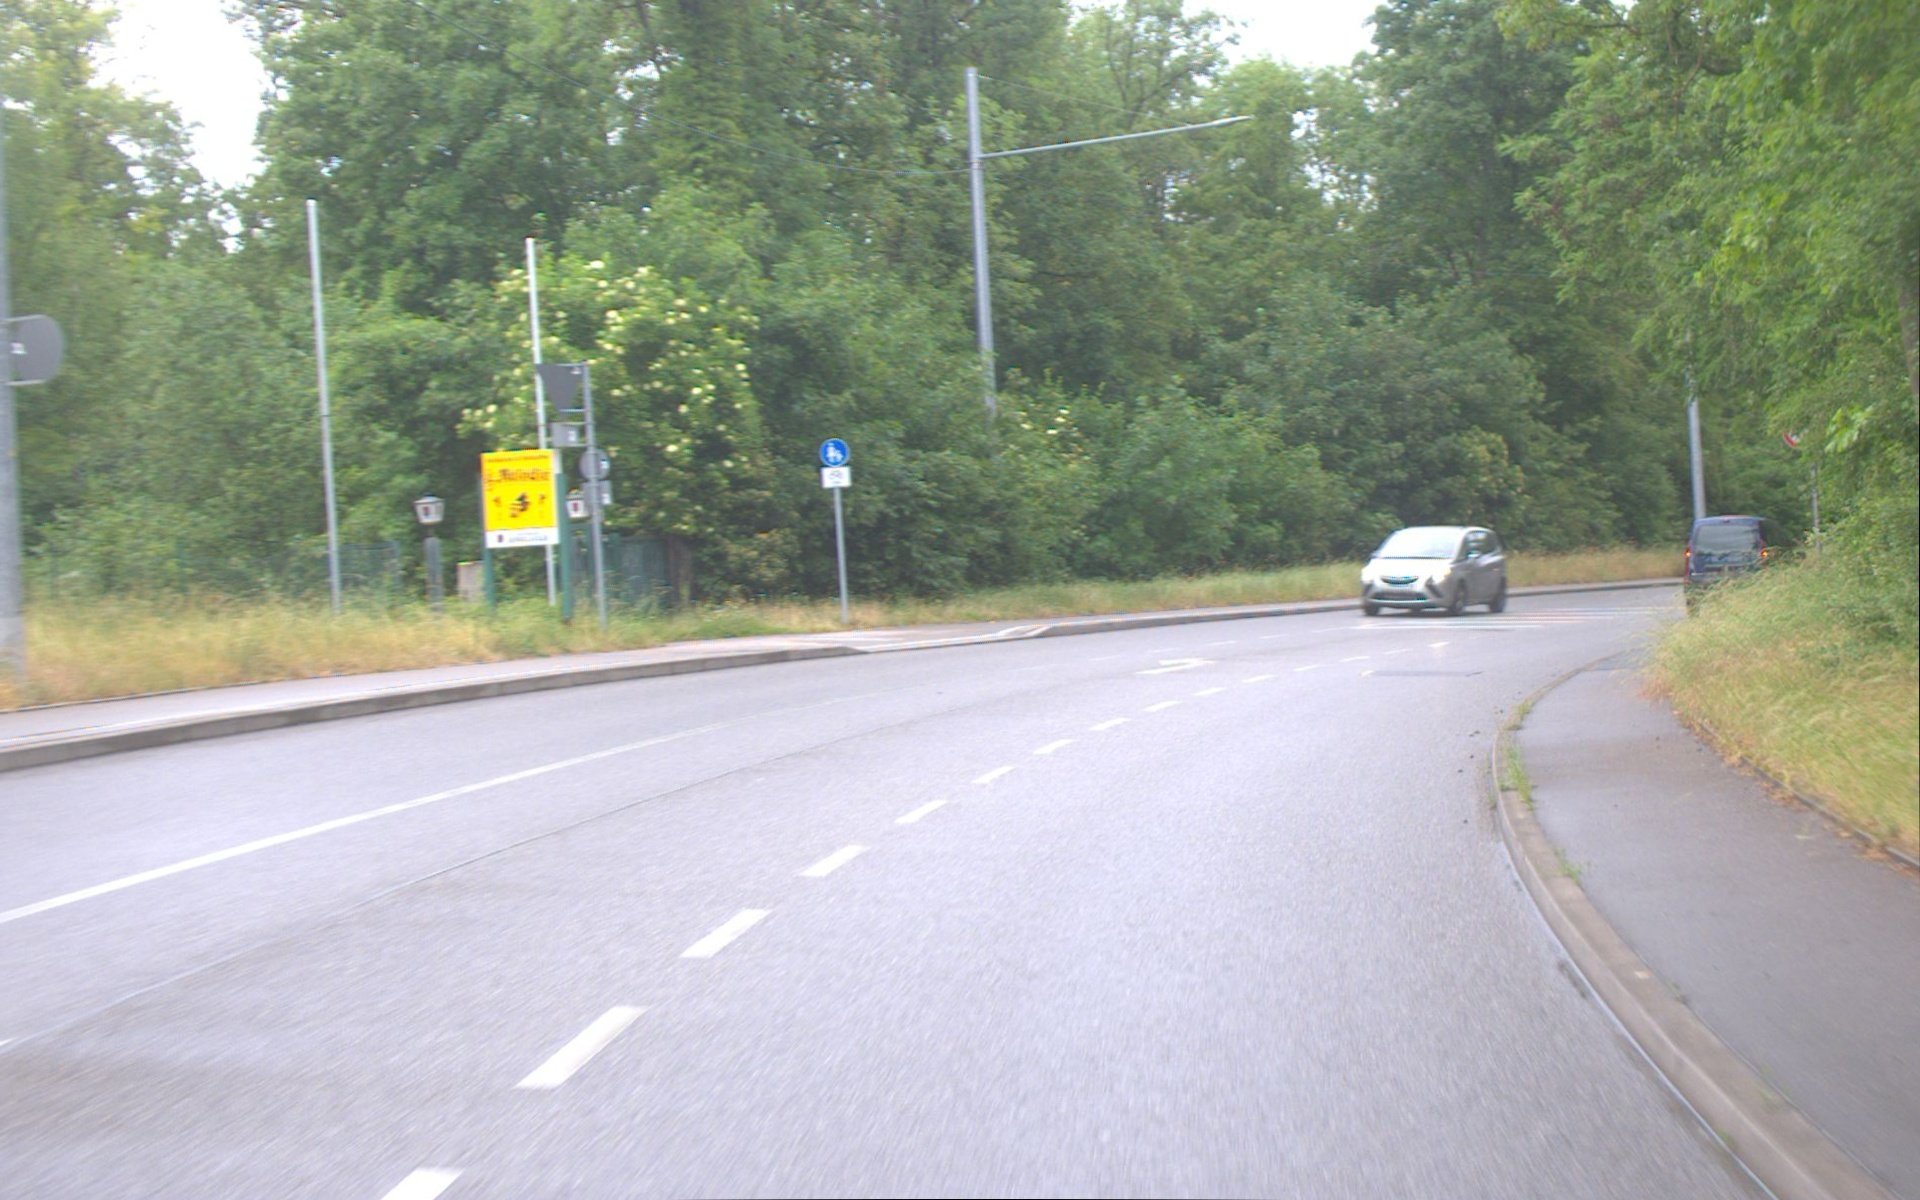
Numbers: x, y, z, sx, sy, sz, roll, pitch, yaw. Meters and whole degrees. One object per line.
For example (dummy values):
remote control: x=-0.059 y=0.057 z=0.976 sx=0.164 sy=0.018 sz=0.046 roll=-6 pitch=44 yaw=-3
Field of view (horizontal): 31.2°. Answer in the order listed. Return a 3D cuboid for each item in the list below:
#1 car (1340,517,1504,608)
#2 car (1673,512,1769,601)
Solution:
car: x=8.570 y=-0.711 z=63.505 sx=1.761 sy=1.609 sz=4.412 roll=1 pitch=1 yaw=25
car: x=14.134 y=-0.817 z=63.769 sx=1.668 sy=1.588 sz=3.681 roll=1 pitch=1 yaw=13
